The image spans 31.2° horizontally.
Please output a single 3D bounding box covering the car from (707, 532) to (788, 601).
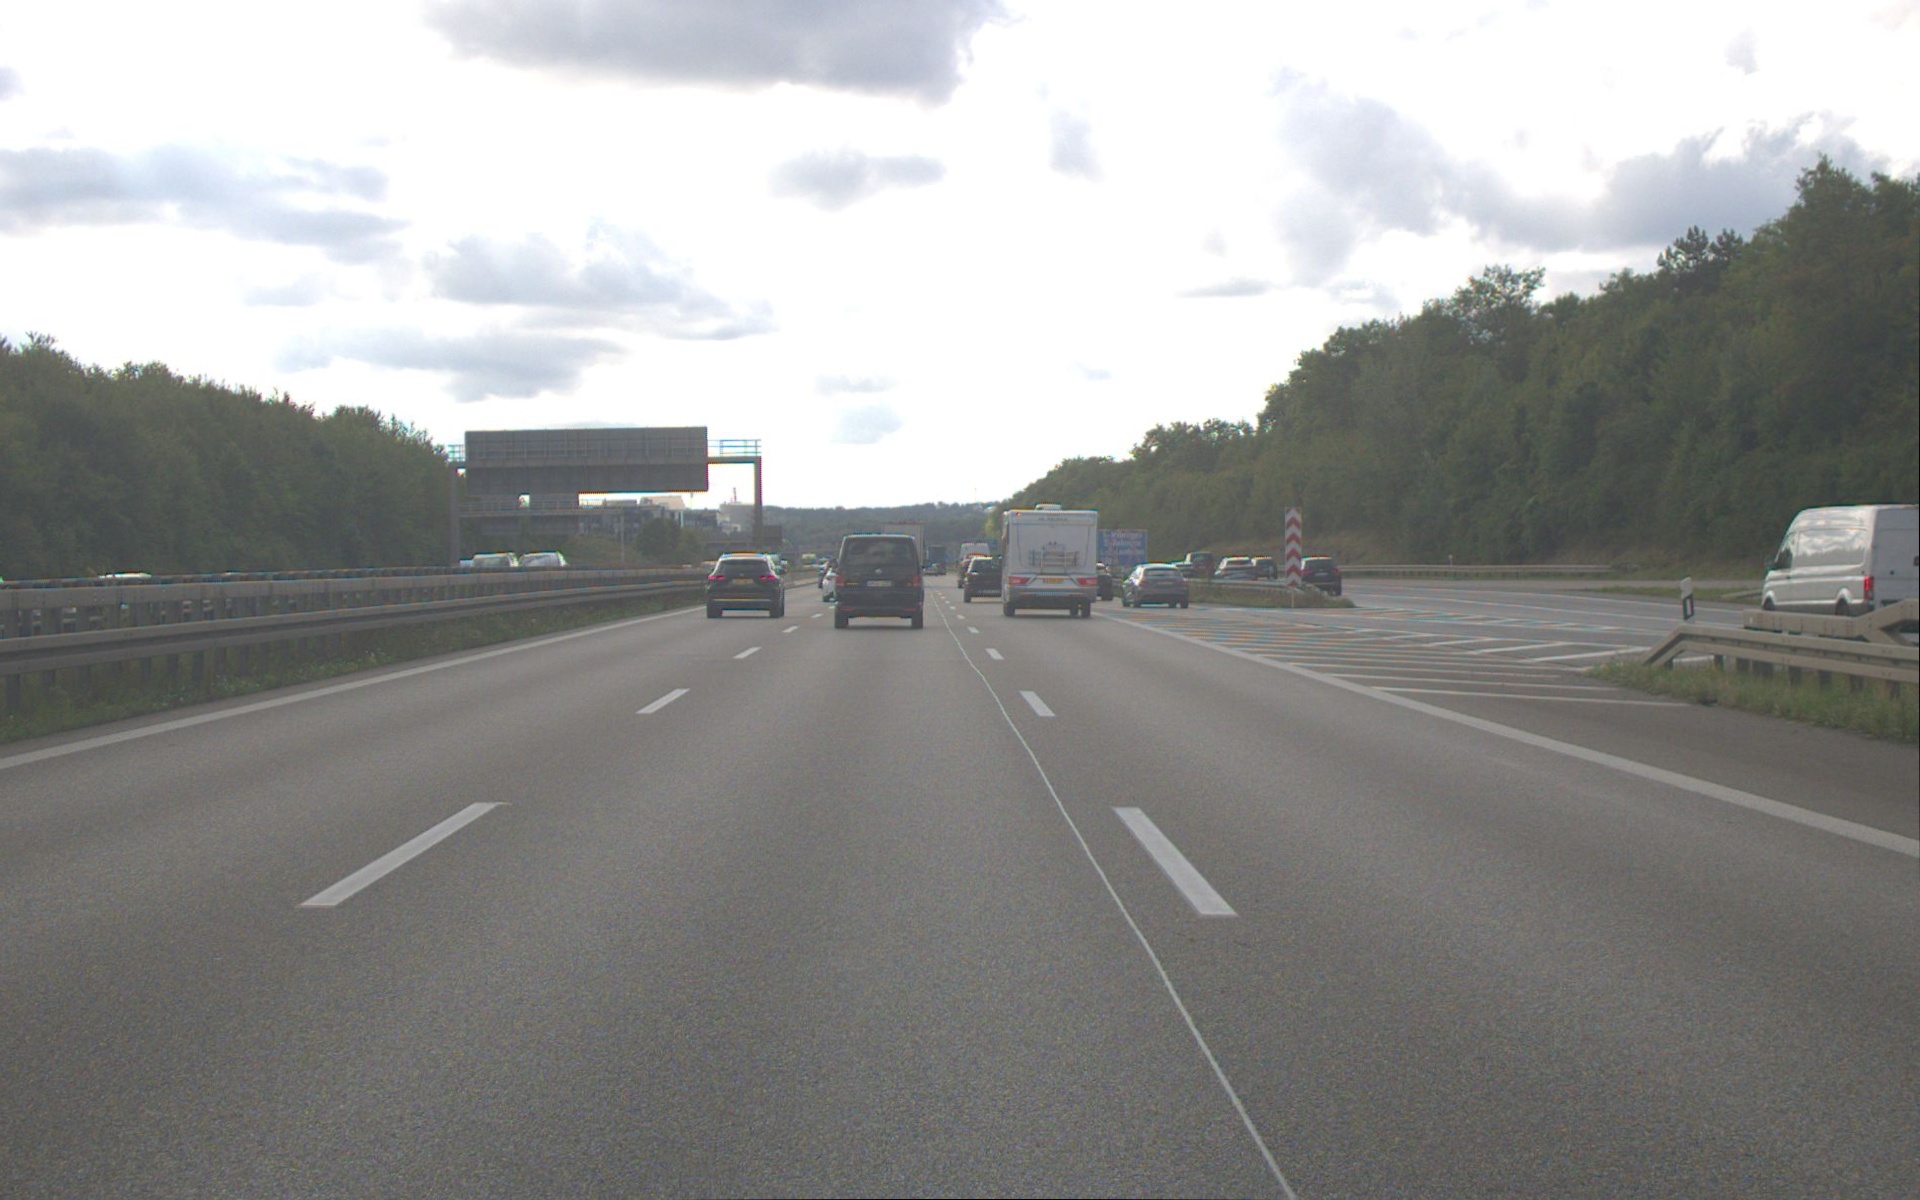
[{"bbox_3d":[-5.321,-0.825,86.312,1.873,1.692,4.072,0,0,-1],"label":"car"}]

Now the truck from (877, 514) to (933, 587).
[{"bbox_3d":[-3.341,-3.060,212.617,3.263,4.360,11.026,1,1,0],"label":"truck"}]

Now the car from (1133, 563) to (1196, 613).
[{"bbox_3d":[6.648,-0.393,111.943,1.697,1.605,3.896,0,1,-2],"label":"car"}]

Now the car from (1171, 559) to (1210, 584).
[{"bbox_3d":[14.175,-1.773,211.678,1.843,1.479,4.526,-2,1,-2],"label":"car"}]

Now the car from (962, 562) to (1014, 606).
[{"bbox_3d":[1.000,-0.596,124.467,1.697,1.559,4.114,0,1,-2],"label":"car"}]

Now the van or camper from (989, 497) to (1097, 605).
[{"bbox_3d":[2.150,-1.295,91.121,2.468,2.712,7.662,1,1,-1],"label":"van or camper"}]

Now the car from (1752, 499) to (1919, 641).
[{"bbox_3d":[17.185,-0.600,65.561,2.069,2.545,6.744,-1,1,-5],"label":"car"}]

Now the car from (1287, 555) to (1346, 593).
[{"bbox_3d":[14.860,-1.087,143.400,1.843,1.479,4.526,-2,1,-1],"label":"car"}]

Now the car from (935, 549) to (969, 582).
[{"bbox_3d":[-0.507,-2.042,201.817,1.913,1.912,4.030,0,1,-1],"label":"car"}]

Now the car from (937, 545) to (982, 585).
[{"bbox_3d":[-0.015,-1.484,144.162,1.814,1.596,4.000,-1,1,-1],"label":"car"}]

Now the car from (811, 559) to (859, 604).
[{"bbox_3d":[-4.552,-0.679,125.192,1.697,1.605,4.114,0,1,-2],"label":"car"}]

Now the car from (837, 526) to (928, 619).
[{"bbox_3d":[-1.643,-0.595,72.871,1.855,1.904,4.260,0,1,-1],"label":"car"}]

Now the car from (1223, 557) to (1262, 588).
[{"bbox_3d":[14.465,-1.421,175.912,1.540,1.479,3.942,-2,1,-1],"label":"car"}]
